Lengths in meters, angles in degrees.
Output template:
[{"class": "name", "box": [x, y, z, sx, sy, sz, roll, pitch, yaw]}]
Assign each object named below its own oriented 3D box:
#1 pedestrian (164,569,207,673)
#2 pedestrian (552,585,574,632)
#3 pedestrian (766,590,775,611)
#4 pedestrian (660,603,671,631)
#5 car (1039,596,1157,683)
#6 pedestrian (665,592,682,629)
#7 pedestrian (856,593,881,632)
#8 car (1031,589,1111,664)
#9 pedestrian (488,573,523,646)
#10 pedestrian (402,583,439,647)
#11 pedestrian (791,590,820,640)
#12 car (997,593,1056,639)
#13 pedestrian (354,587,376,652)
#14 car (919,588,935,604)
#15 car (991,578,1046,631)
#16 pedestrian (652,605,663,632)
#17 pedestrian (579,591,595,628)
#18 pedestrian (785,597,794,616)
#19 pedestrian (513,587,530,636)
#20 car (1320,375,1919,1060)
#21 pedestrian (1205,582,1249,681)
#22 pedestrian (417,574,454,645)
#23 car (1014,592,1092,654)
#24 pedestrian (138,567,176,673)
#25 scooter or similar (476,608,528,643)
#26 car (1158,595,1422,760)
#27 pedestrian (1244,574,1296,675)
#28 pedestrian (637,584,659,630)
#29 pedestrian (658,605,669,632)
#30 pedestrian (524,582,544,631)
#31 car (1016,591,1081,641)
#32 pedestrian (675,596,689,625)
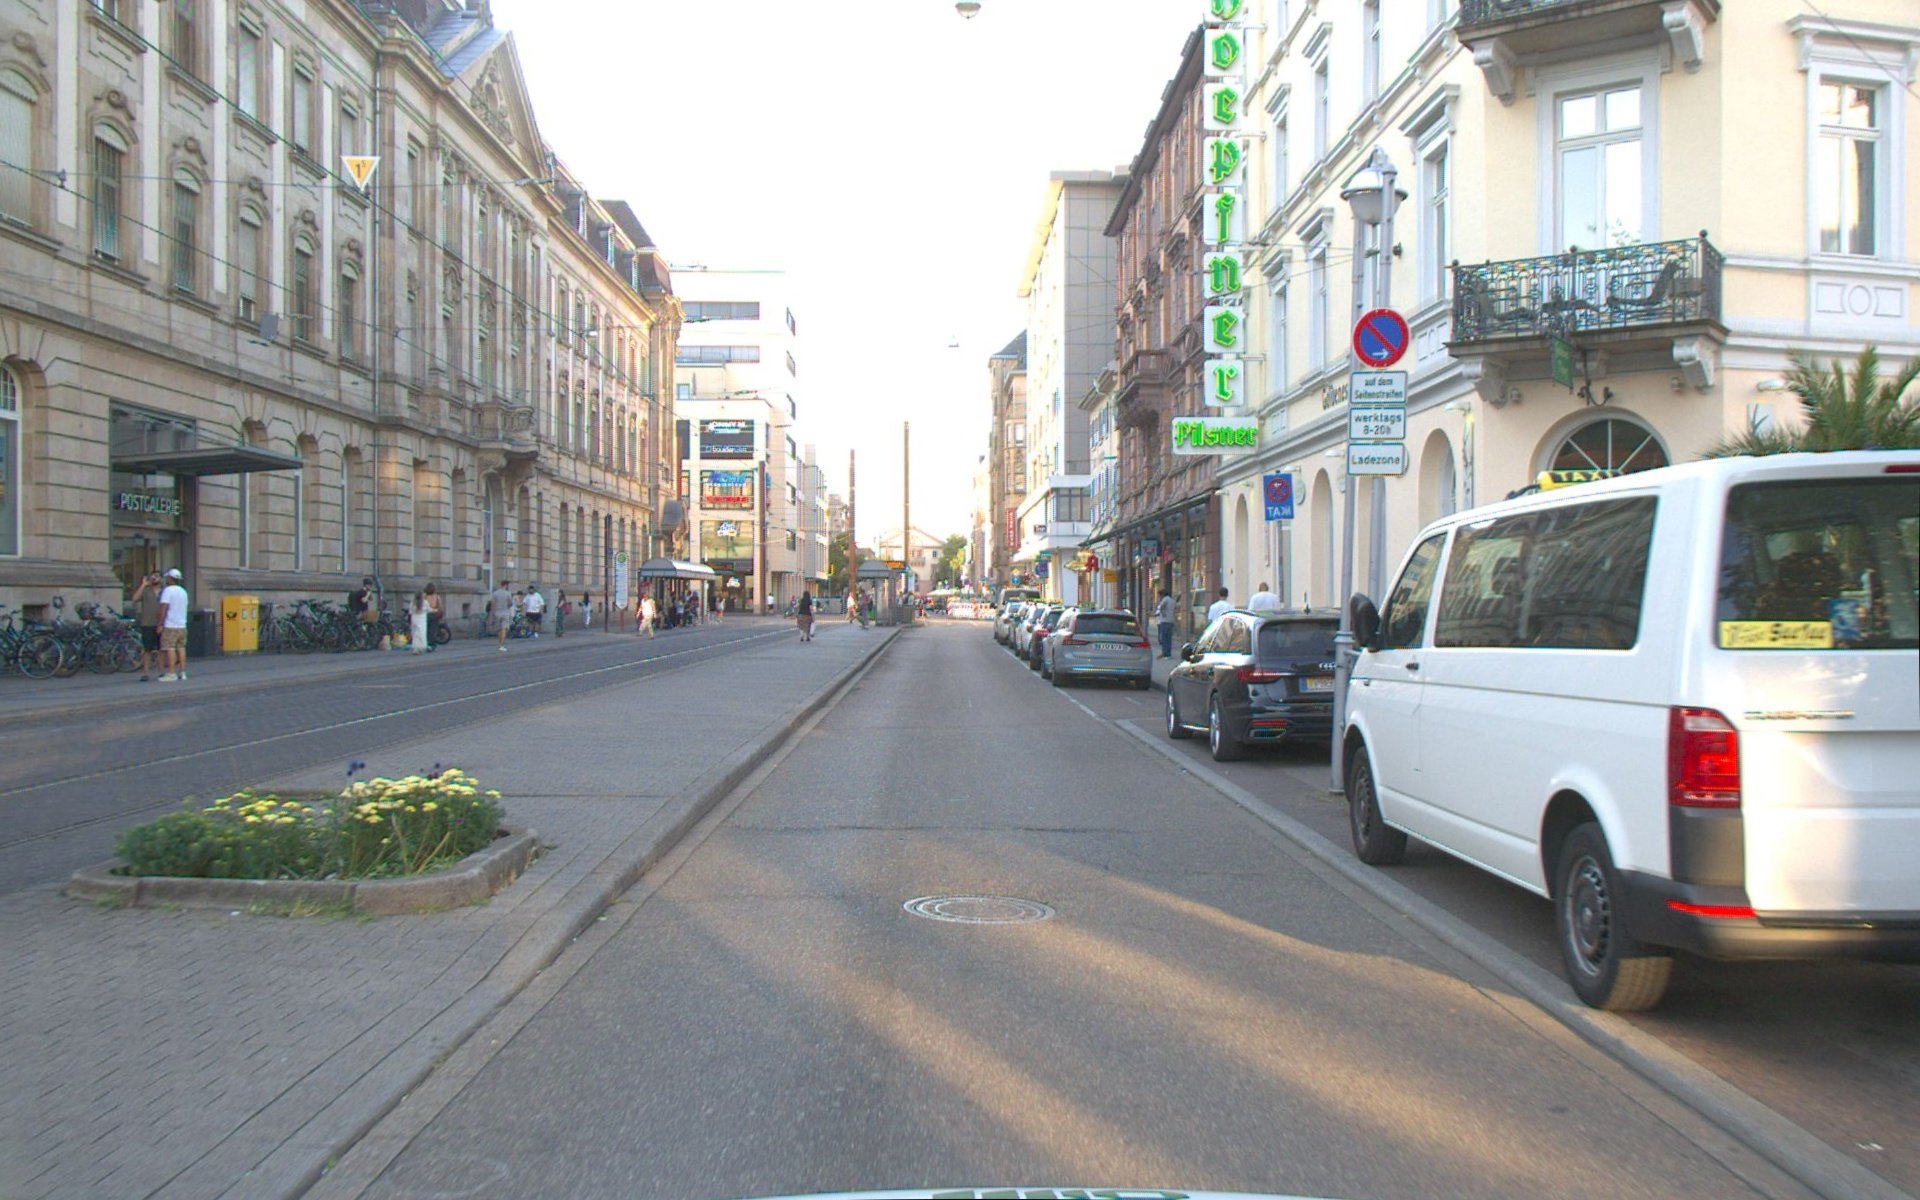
[{"class": "pedestrian", "box": [-12.533, 0.337, 26.775, 0.369, 1.659, 0.491, 0, -1, 39]}, {"class": "pedestrian", "box": [-13.972, 0.288, 58.172, 0.558, 1.633, 0.441, 1, -1, 15]}, {"class": "pedestrian", "box": [-16.669, 0.039, 145.630, 0.560, 1.887, 0.817, 1, -1, 11]}, {"class": "pedestrian", "box": [-12.774, 0.735, 71.790, 0.357, 1.221, 0.430, 1, -1, 5]}, {"class": "car", "box": [2.611, 0.711, 32.278, 1.769, 1.501, 4.692, 1, 1, -1]}, {"class": "pedestrian", "box": [-12.951, 0.493, 74.817, 0.507, 1.679, 0.638, 0, -1, 21]}, {"class": "pedestrian", "box": [-3.900, 0.524, 70.667, 0.675, 1.666, 0.857, 0, 0, 39]}, {"class": "car", "box": [2.575, 0.619, 39.229, 1.697, 1.618, 4.442, 2, -1, 2]}, {"class": "pedestrian", "box": [-11.490, 0.241, 41.836, 0.678, 1.844, 0.814, 0, 0, -1]}, {"class": "pedestrian", "box": [-12.575, 0.350, 38.565, 0.678, 1.492, 0.556, 0, 0, -2]}, {"class": "pedestrian", "box": [-4.751, 0.448, 50.860, 0.829, 1.527, 0.901, 0, 0, -1]}, {"class": "car", "box": [2.320, 0.535, 58.912, 1.769, 1.509, 4.777, 2, 0, -1]}, {"class": "pedestrian", "box": [-15.272, 0.507, 42.467, 0.357, 1.662, 0.430, 1, -1, 5]}, {"class": "car", "box": [-4.149, -0.477, 206.312, 1.953, 1.937, 3.998, 1, -1, -2]}, {"class": "car", "box": [2.269, 0.204, 65.429, 1.839, 1.957, 4.698, 2, -1, -1]}, {"class": "pedestrian", "box": [-12.861, 0.788, 70.356, 0.357, 1.122, 0.430, 1, -1, 5]}, {"class": "pedestrian", "box": [-16.379, 0.425, 72.607, 0.648, 1.589, 0.677, 0, 0, -15]}, {"class": "pedestrian", "box": [-14.861, 0.585, 144.336, 0.635, 1.703, 0.530, 0, 0, 7]}, {"class": "pedestrian", "box": [-14.927, 0.397, 56.296, 0.328, 1.671, 0.606, 1, -1, 6]}, {"class": "car", "box": [3.198, 0.370, 7.721, 1.814, 2.103, 5.214, 0, 0, -1]}, {"class": "pedestrian", "box": [4.796, 0.563, 29.698, 0.606, 1.718, 0.486, -4, 0, 15]}, {"class": "pedestrian", "box": [-13.088, 0.240, 41.283, 0.678, 1.742, 0.815, 0, 0, -1]}, {"class": "car", "box": [2.495, 0.626, 45.308, 1.697, 1.537, 4.863, 2, -1, -1]}, {"class": "pedestrian", "box": [-13.073, 0.327, 26.936, 0.368, 1.702, 0.493, 1, -1, -6]}, {"class": "scooter or similar", "box": [-14.851, 0.832, 53.650, 1.514, 1.087, 0.451, 1, -1, 4]}, {"class": "car", "box": [3.186, 0.705, 16.870, 1.662, 1.414, 4.546, -1, -1, -1]}, {"class": "pedestrian", "box": [5.519, 0.435, 29.445, 0.743, 1.718, 0.552, -4, 0, 16]}, {"class": "pedestrian", "box": [-10.877, 0.257, 57.661, 0.646, 1.589, 0.679, 0, 0, -1]}, {"class": "pedestrian", "box": [-12.717, 0.797, 70.945, 0.357, 1.122, 0.430, 1, -1, 5]}, {"class": "pedestrian", "box": [-14.489, 0.222, 56.231, 0.466, 1.671, 0.563, 1, -1, 4]}, {"class": "car", "box": [2.815, 0.514, 53.431, 1.691, 1.503, 4.819, 1, -1, -1]}, {"class": "pedestrian", "box": [-12.951, 0.496, 77.150, 0.507, 1.350, 0.638, 0, -1, 2]}]
